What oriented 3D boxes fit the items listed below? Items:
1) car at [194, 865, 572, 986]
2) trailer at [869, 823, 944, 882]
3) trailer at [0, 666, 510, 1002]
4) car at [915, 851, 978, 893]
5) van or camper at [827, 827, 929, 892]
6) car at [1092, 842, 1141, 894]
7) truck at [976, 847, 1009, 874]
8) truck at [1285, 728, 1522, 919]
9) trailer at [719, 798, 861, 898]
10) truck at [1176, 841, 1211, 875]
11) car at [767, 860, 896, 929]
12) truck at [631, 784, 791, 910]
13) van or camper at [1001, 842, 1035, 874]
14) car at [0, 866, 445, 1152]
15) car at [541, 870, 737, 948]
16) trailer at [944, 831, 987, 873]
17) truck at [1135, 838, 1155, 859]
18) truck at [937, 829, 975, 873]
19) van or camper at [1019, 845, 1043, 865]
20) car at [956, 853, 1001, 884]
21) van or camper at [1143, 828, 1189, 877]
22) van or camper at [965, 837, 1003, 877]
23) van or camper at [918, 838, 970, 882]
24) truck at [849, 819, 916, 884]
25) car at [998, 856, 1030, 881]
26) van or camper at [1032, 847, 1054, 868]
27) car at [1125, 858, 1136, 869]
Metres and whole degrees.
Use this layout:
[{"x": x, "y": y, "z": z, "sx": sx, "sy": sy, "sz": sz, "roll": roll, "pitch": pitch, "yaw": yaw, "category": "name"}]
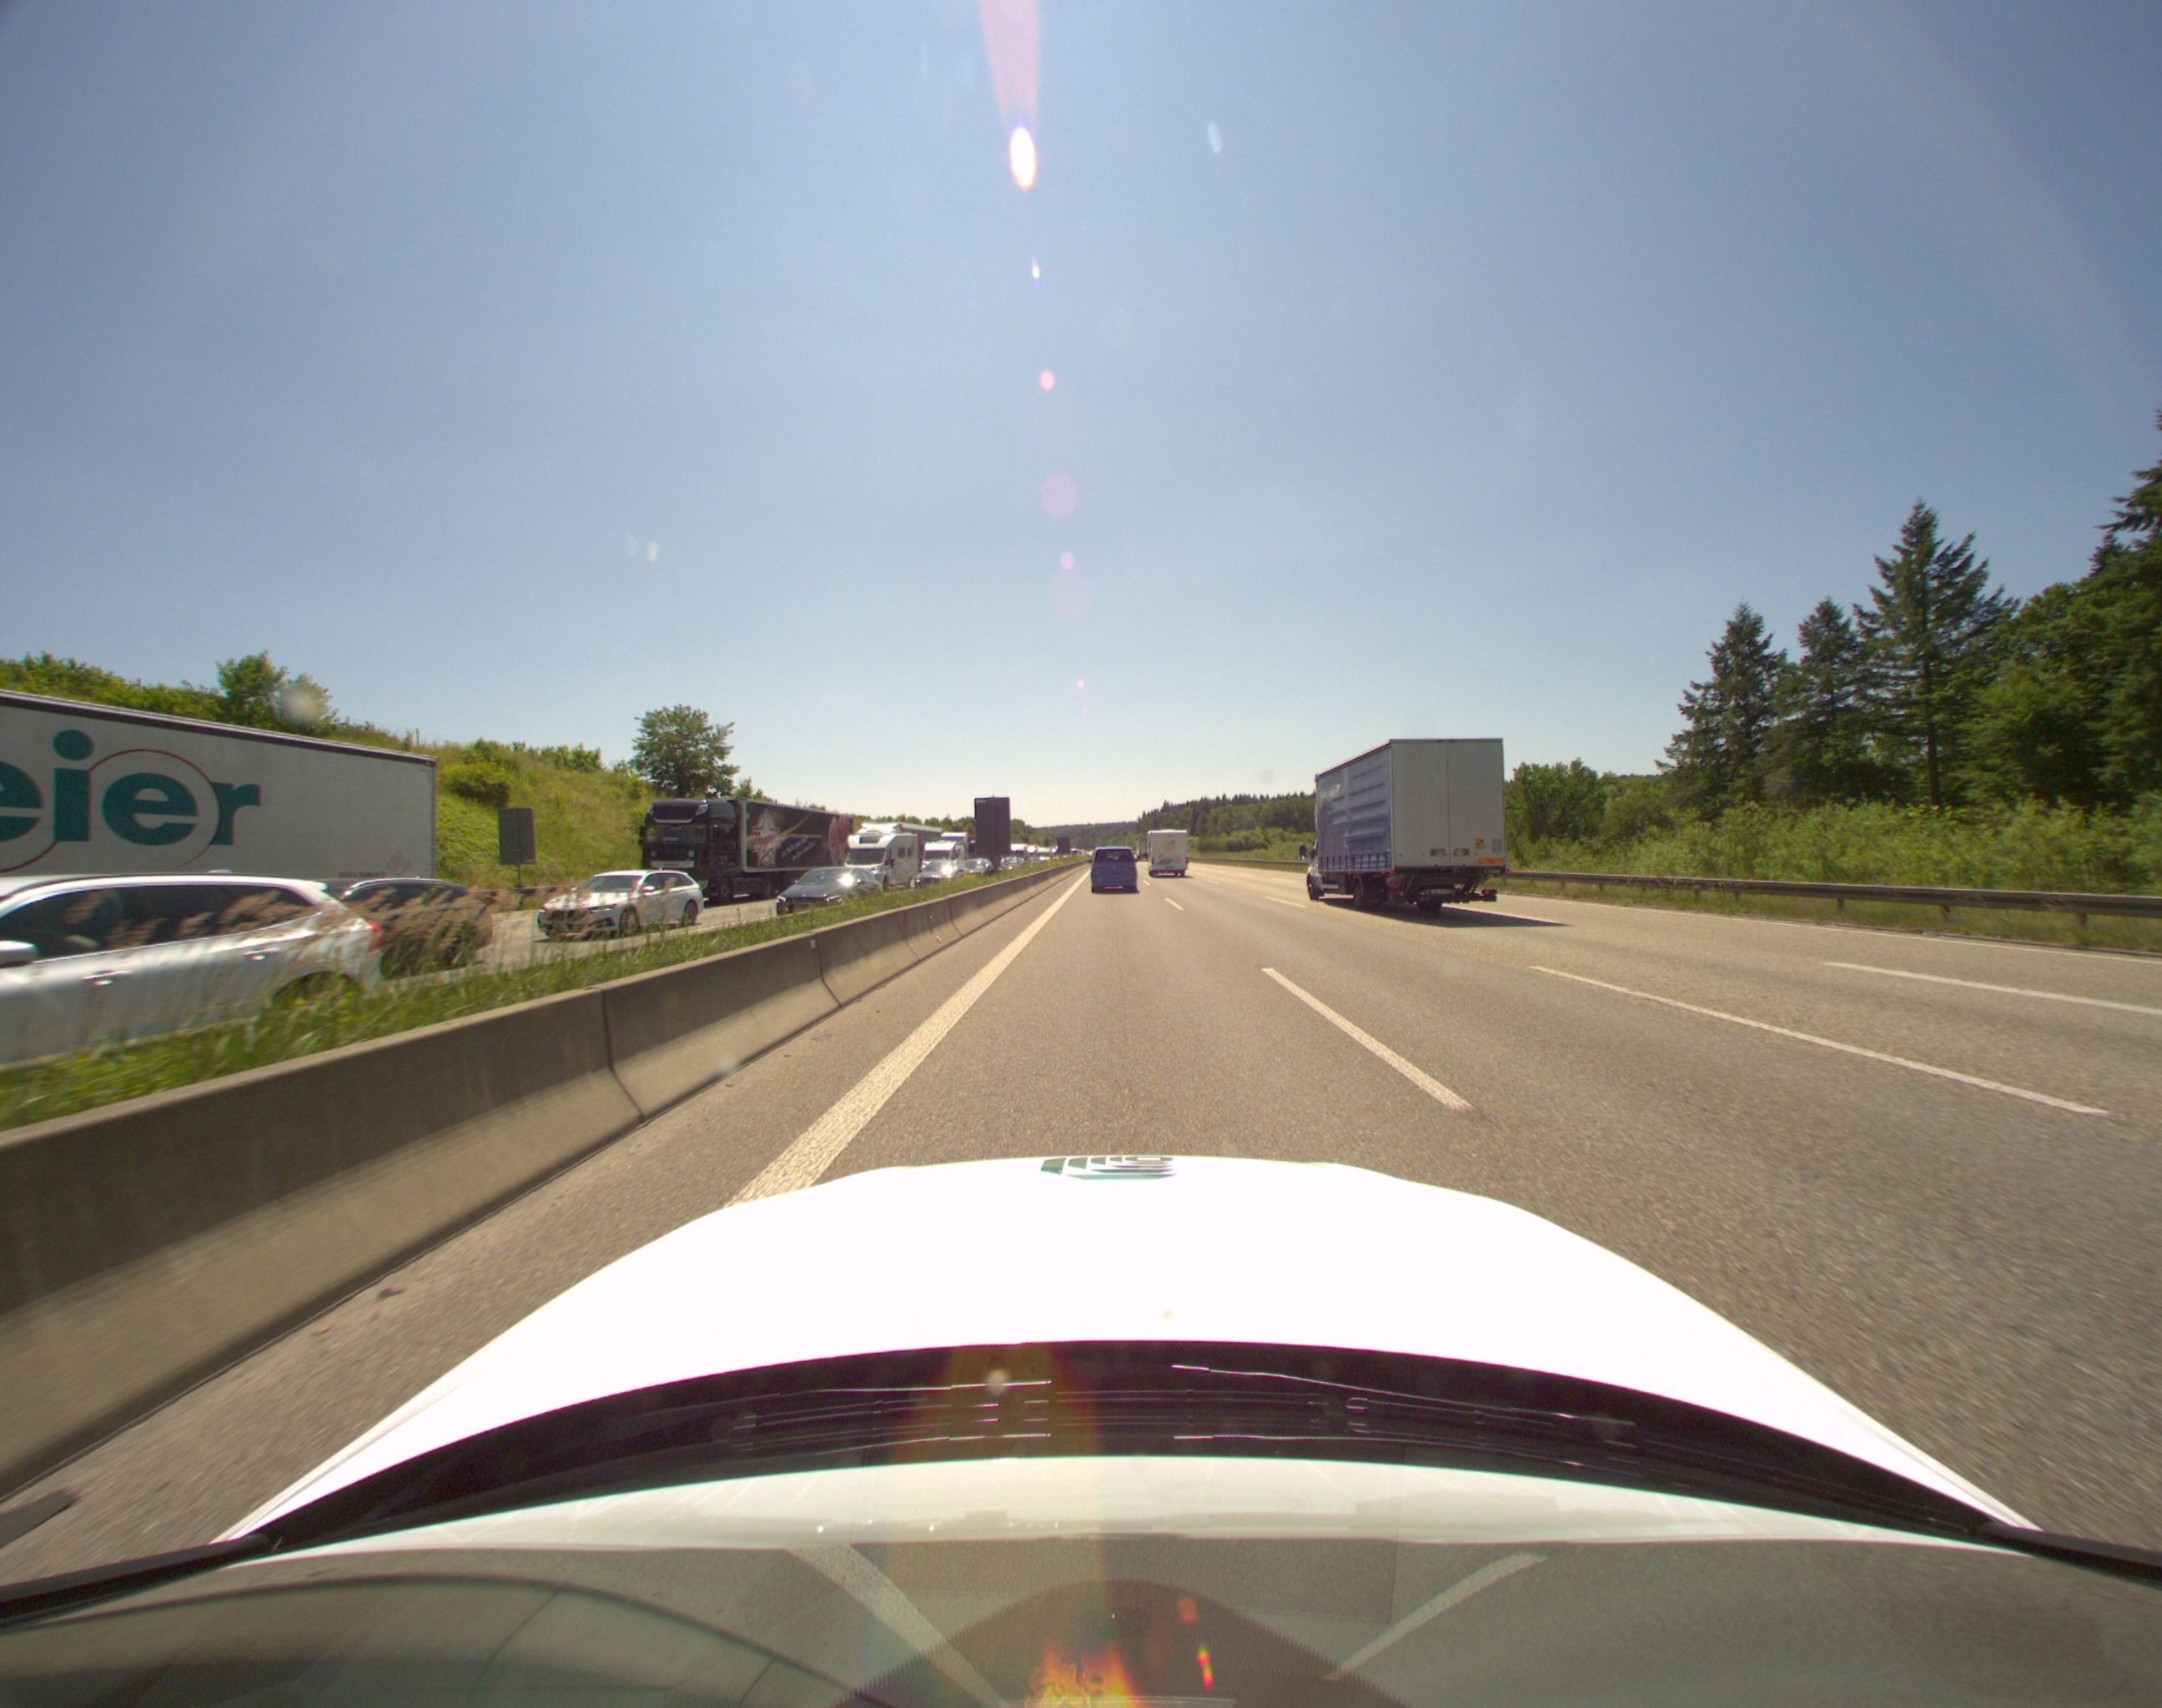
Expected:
[{"x": -10.704, "y": 0.975, "z": 13.137, "sx": 1.805, "sy": 1.537, "sz": 4.831, "roll": 0, "pitch": 0, "yaw": 2, "category": "car"}, {"x": -13.136, "y": -0.043, "z": 62.573, "sx": 2.770, "sy": 4.034, "sz": 12.255, "roll": 0, "pitch": 0, "yaw": 2, "category": "trailer"}, {"x": -15.089, "y": -0.205, "z": 13.243, "sx": 2.770, "sy": 4.305, "sz": 11.719, "roll": -2, "pitch": -1, "yaw": 3, "category": "trailer"}, {"x": -6.140, "y": 0.795, "z": 37.716, "sx": 1.805, "sy": 1.809, "sz": 5.545, "roll": 0, "pitch": 0, "yaw": 2, "category": "car"}, {"x": -10.041, "y": 0.292, "z": 41.294, "sx": 2.831, "sy": 2.948, "sz": 8.116, "roll": 0, "pitch": 0, "yaw": 2, "category": "van or camper"}, {"x": 1.475, "y": 0.533, "z": 34.315, "sx": 1.902, "sy": 2.013, "sz": 4.001, "roll": 1, "pitch": 0, "yaw": 1, "category": "car"}, {"x": -8.710, "y": 0.625, "z": 80.608, "sx": 2.226, "sy": 2.506, "sz": 6.864, "roll": -2, "pitch": -1, "yaw": 1, "category": "truck"}, {"x": 8.198, "y": -0.625, "z": 22.498, "sx": 2.773, "sy": 4.128, "sz": 9.740, "roll": 0, "pitch": 0, "yaw": 1, "category": "truck"}, {"x": -13.860, "y": -0.209, "z": 40.067, "sx": 2.779, "sy": 4.240, "sz": 10.797, "roll": 0, "pitch": 0, "yaw": 2, "category": "trailer"}, {"x": 12.467, "y": 0.364, "z": 91.211, "sx": 2.916, "sy": 3.575, "sz": 8.531, "roll": -2, "pitch": 1, "yaw": 2, "category": "truck"}, {"x": -6.611, "y": 0.998, "z": 22.195, "sx": 1.805, "sy": 1.634, "sz": 5.032, "roll": 0, "pitch": 0, "yaw": 2, "category": "car"}, {"x": -14.135, "y": -0.222, "z": 31.847, "sx": 2.771, "sy": 4.305, "sz": 7.032, "roll": -2, "pitch": -1, "yaw": 2, "category": "truck"}, {"x": -5.313, "y": 0.356, "z": 69.394, "sx": 2.185, "sy": 2.541, "sz": 6.418, "roll": -2, "pitch": -1, "yaw": 1, "category": "van or camper"}, {"x": -7.168, "y": 0.925, "z": 5.412, "sx": 1.805, "sy": 1.634, "sz": 5.032, "roll": 0, "pitch": 0, "yaw": 2, "category": "car"}, {"x": -10.216, "y": 1.194, "z": 19.381, "sx": 1.805, "sy": 1.543, "sz": 5.000, "roll": 0, "pitch": 0, "yaw": 2, "category": "car"}, {"x": -12.469, "y": -0.152, "z": 89.048, "sx": 2.602, "sy": 4.310, "sz": 12.004, "roll": 0, "pitch": 0, "yaw": 1, "category": "trailer"}, {"x": 12.551, "y": -1.025, "z": 160.337, "sx": 3.474, "sy": 4.170, "sz": 8.645, "roll": 0, "pitch": 0, "yaw": 2, "category": "truck"}, {"x": -12.622, "y": -0.251, "z": 82.841, "sx": 2.580, "sy": 4.326, "sz": 7.294, "roll": 0, "pitch": -1, "yaw": 1, "category": "truck"}, {"x": -7.584, "y": 0.146, "z": 124.007, "sx": 2.534, "sy": 2.937, "sz": 7.834, "roll": -2, "pitch": -1, "yaw": 3, "category": "van or camper"}, {"x": -5.987, "y": 0.845, "z": 48.050, "sx": 1.805, "sy": 1.730, "sz": 4.975, "roll": 0, "pitch": 0, "yaw": 2, "category": "car"}, {"x": 5.579, "y": -0.103, "z": 54.449, "sx": 2.593, "sy": 3.078, "sz": 7.185, "roll": 0, "pitch": 0, "yaw": 2, "category": "van or camper"}, {"x": -8.835, "y": 0.284, "z": 74.866, "sx": 2.304, "sy": 3.390, "sz": 7.682, "roll": -2, "pitch": -1, "yaw": 1, "category": "van or camper"}, {"x": -9.604, "y": 0.441, "z": 57.760, "sx": 2.142, "sy": 2.923, "sz": 7.227, "roll": 0, "pitch": 0, "yaw": 2, "category": "van or camper"}, {"x": -13.365, "y": -0.129, "z": 55.293, "sx": 2.790, "sy": 4.128, "sz": 6.144, "roll": 0, "pitch": -1, "yaw": 2, "category": "truck"}, {"x": -4.927, "y": 1.049, "z": 60.439, "sx": 1.805, "sy": 1.730, "sz": 4.937, "roll": 0, "pitch": 0, "yaw": 2, "category": "car"}, {"x": -4.725, "y": 0.430, "z": 102.237, "sx": 2.185, "sy": 2.506, "sz": 6.059, "roll": -2, "pitch": -1, "yaw": 1, "category": "van or camper"}, {"x": 8.207, "y": 1.512, "z": 135.293, "sx": 1.811, "sy": 1.794, "sz": 3.896, "roll": 0, "pitch": 0, "yaw": 2, "category": "car"}]
